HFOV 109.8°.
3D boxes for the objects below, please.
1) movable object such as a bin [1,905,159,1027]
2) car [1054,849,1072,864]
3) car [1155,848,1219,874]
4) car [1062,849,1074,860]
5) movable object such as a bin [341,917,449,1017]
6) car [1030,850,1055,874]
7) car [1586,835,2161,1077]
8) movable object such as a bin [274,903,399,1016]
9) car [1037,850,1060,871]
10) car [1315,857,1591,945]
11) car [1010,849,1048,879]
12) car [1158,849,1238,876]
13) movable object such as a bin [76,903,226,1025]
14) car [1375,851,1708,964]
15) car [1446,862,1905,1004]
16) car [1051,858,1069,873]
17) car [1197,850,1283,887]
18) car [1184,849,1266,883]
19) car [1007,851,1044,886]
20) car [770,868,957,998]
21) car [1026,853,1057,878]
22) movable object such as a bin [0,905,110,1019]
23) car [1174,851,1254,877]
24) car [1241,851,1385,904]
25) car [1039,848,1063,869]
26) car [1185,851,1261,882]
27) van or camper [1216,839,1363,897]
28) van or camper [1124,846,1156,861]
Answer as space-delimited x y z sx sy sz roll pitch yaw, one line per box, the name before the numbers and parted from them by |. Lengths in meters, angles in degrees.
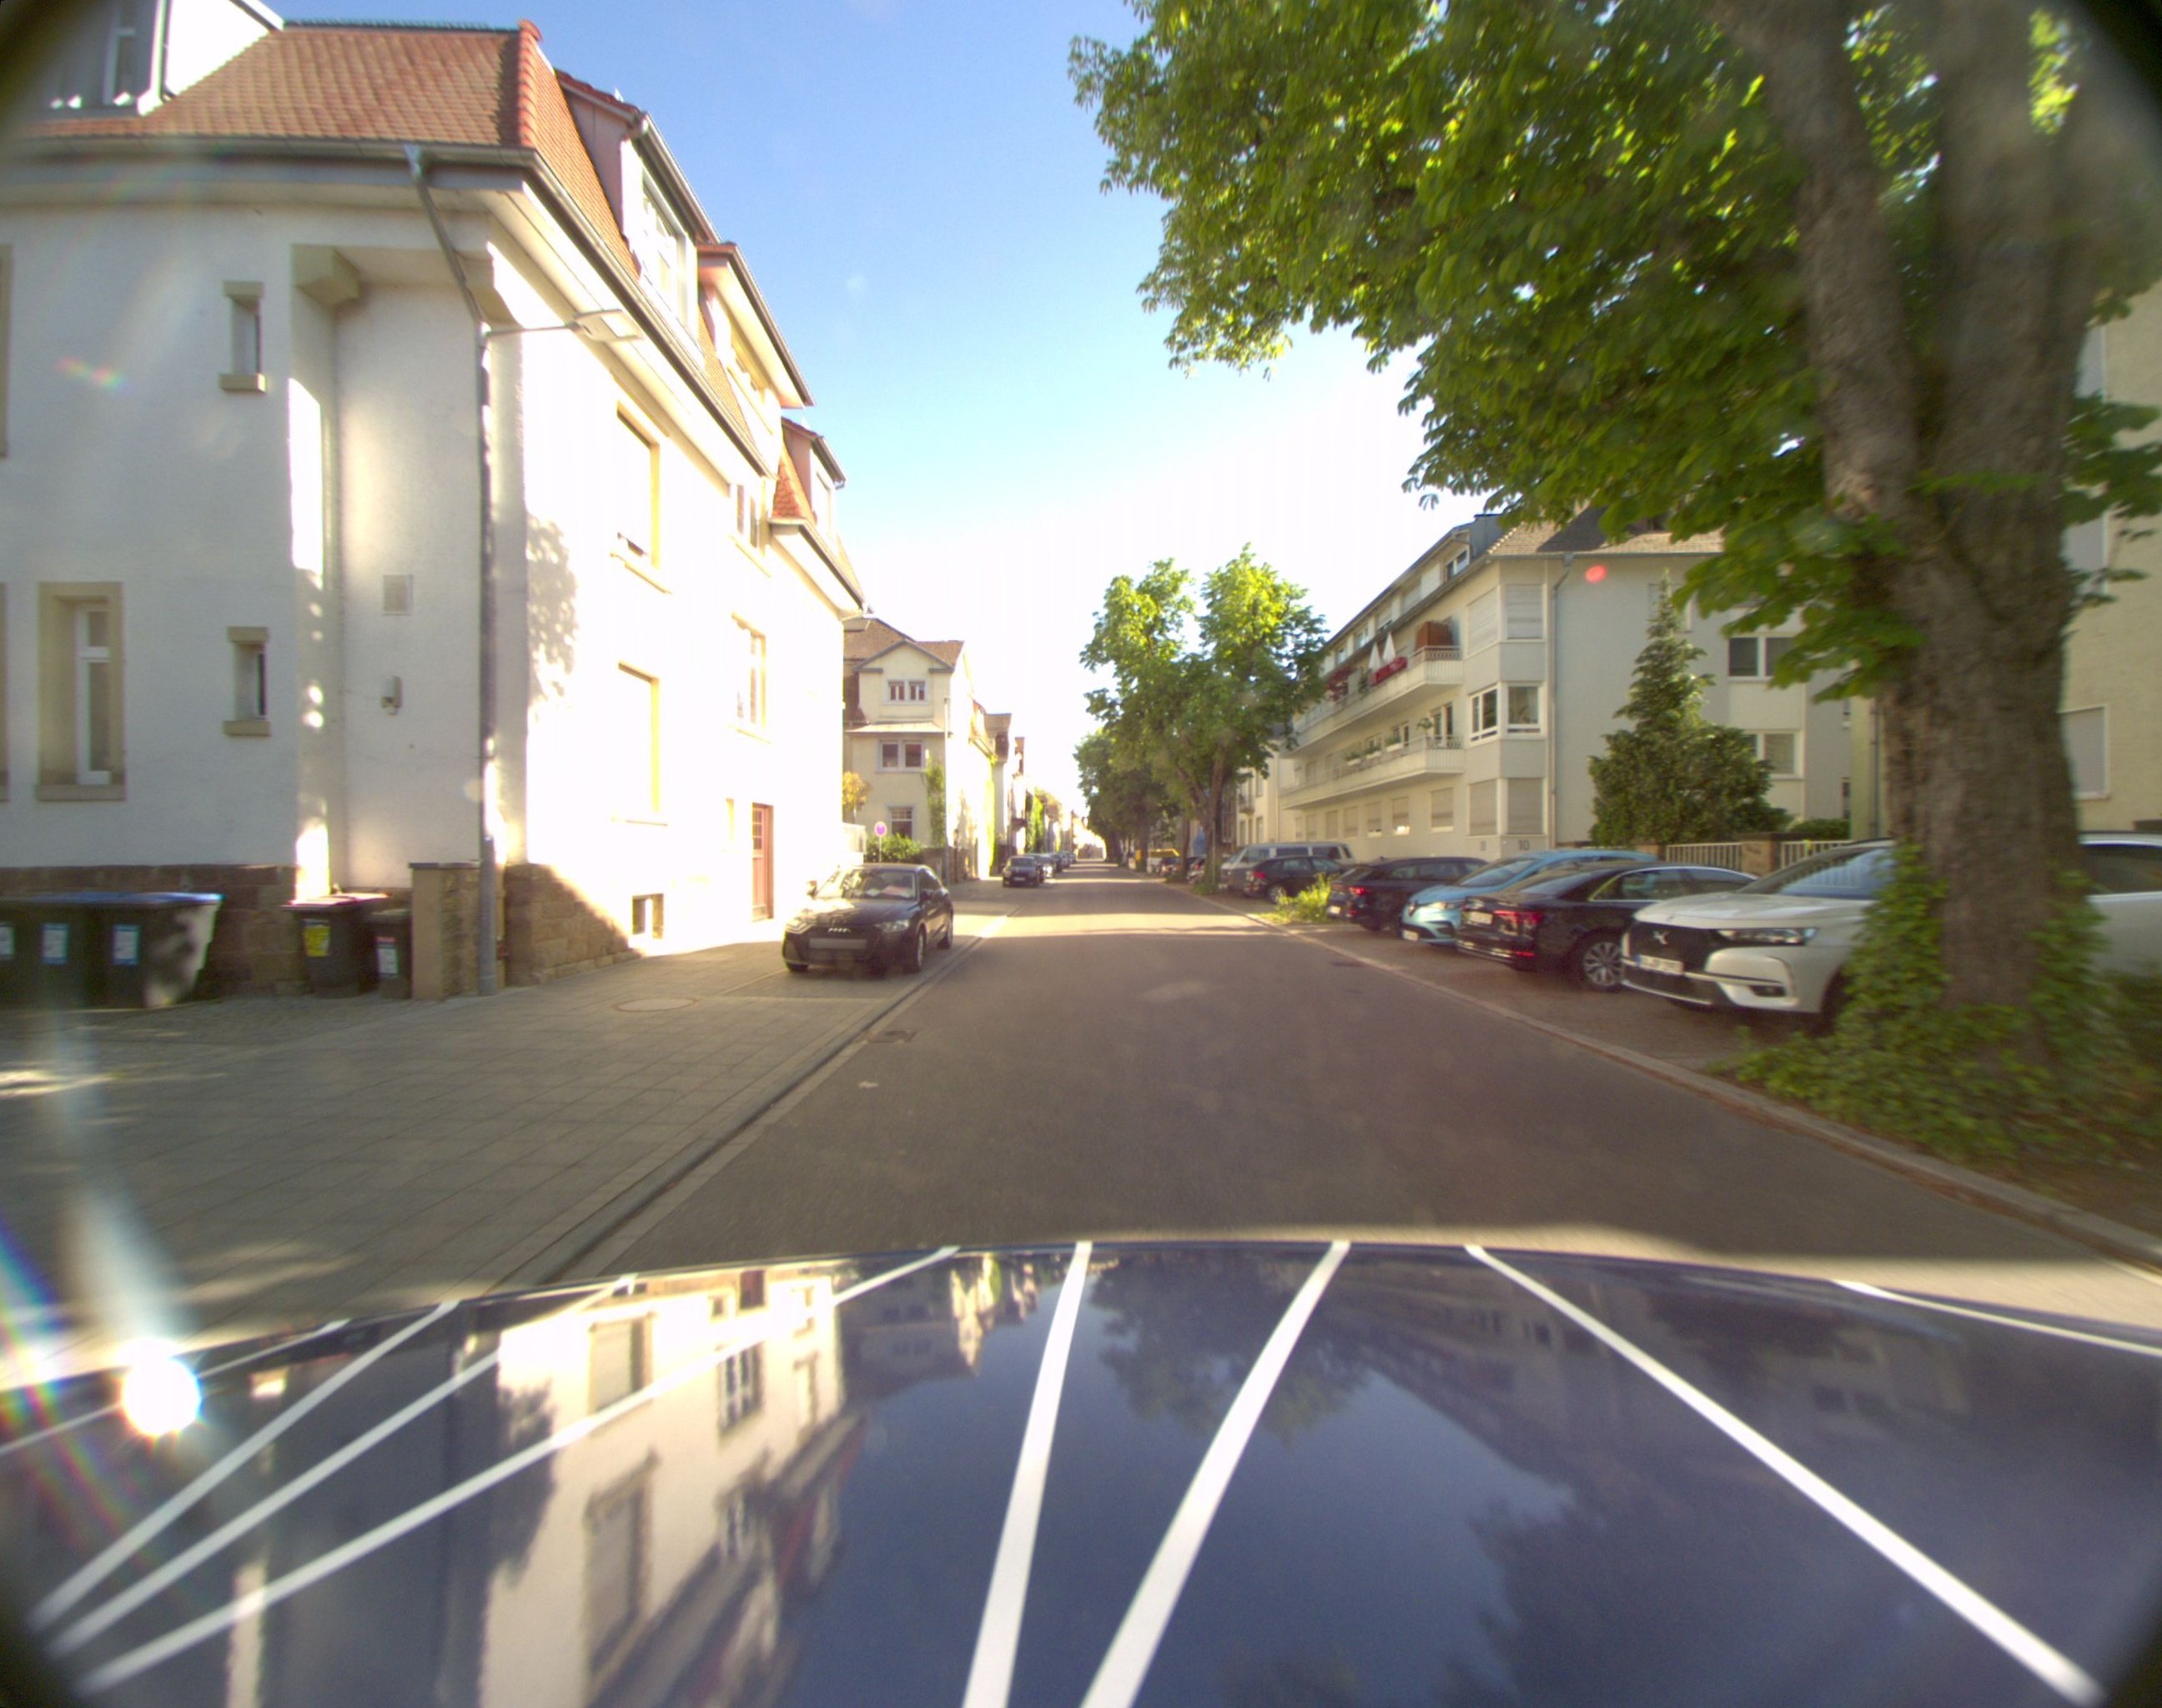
movable object such as a bin | -9.544 1.043 7.272 0.554 1.038 0.655 -2 2 -3
car | -2.033 0.280 85.711 1.872 1.635 4.199 0 1 1
car | 7.059 0.442 50.773 3.883 1.505 1.831 -3 1 -8
car | -2.042 0.069 119.078 1.814 1.546 4.105 -1 0 0
movable object such as a bin | -7.202 1.169 8.003 0.487 0.931 0.653 -2 2 -3
car | -2.698 0.537 53.787 1.579 1.540 3.467 1 2 0
car | 6.939 0.732 6.188 4.397 1.642 1.823 1 -1 2
movable object such as a bin | -7.779 1.083 7.974 0.557 1.056 0.696 -2 2 -3
car | -2.565 0.514 60.529 1.629 1.540 2.868 -1 2 0
car | 6.713 0.810 14.063 4.197 1.490 1.861 0 1 -1
car | -2.890 0.532 43.011 1.796 1.512 4.365 1 1 0
car | 7.136 0.502 46.509 4.601 1.598 1.832 0 1 -2
movable object such as a bin | -8.932 1.033 7.330 0.557 1.044 0.655 -2 2 -3
car | 6.871 0.752 11.668 3.997 1.583 1.878 0 1 -1
car | 6.644 0.841 8.823 3.997 1.460 1.697 0 1 0
car | -2.122 1.156 76.748 1.648 1.445 4.502 -1 0 0
car | 7.050 0.631 33.909 3.486 1.450 1.797 -2 1 2
car | 6.876 0.575 36.534 3.652 1.454 1.710 -2 1 3
car | -2.677 0.671 37.309 1.667 1.512 3.999 1 1 -3
car | -2.945 0.998 11.140 1.624 1.431 3.934 2 0 -1
car | -2.520 0.729 49.431 1.713 1.428 4.192 2 1 0
movable object such as a bin | -10.139 1.028 7.371 0.519 0.997 0.655 -2 2 -3
car | 7.519 0.544 43.138 4.198 1.433 1.712 -1 1 -1
car | 7.080 0.701 23.473 3.954 1.490 1.662 -1 1 3
car | -2.535 0.354 65.648 1.782 1.686 4.319 -2 1 1
car | 7.297 0.601 39.093 3.488 1.412 1.709 -2 2 -4
van or camper | 7.087 0.458 26.141 4.508 1.904 1.964 -1 1 0
van or camper | 7.478 -0.058 97.121 3.954 1.763 1.809 -1 0 0
